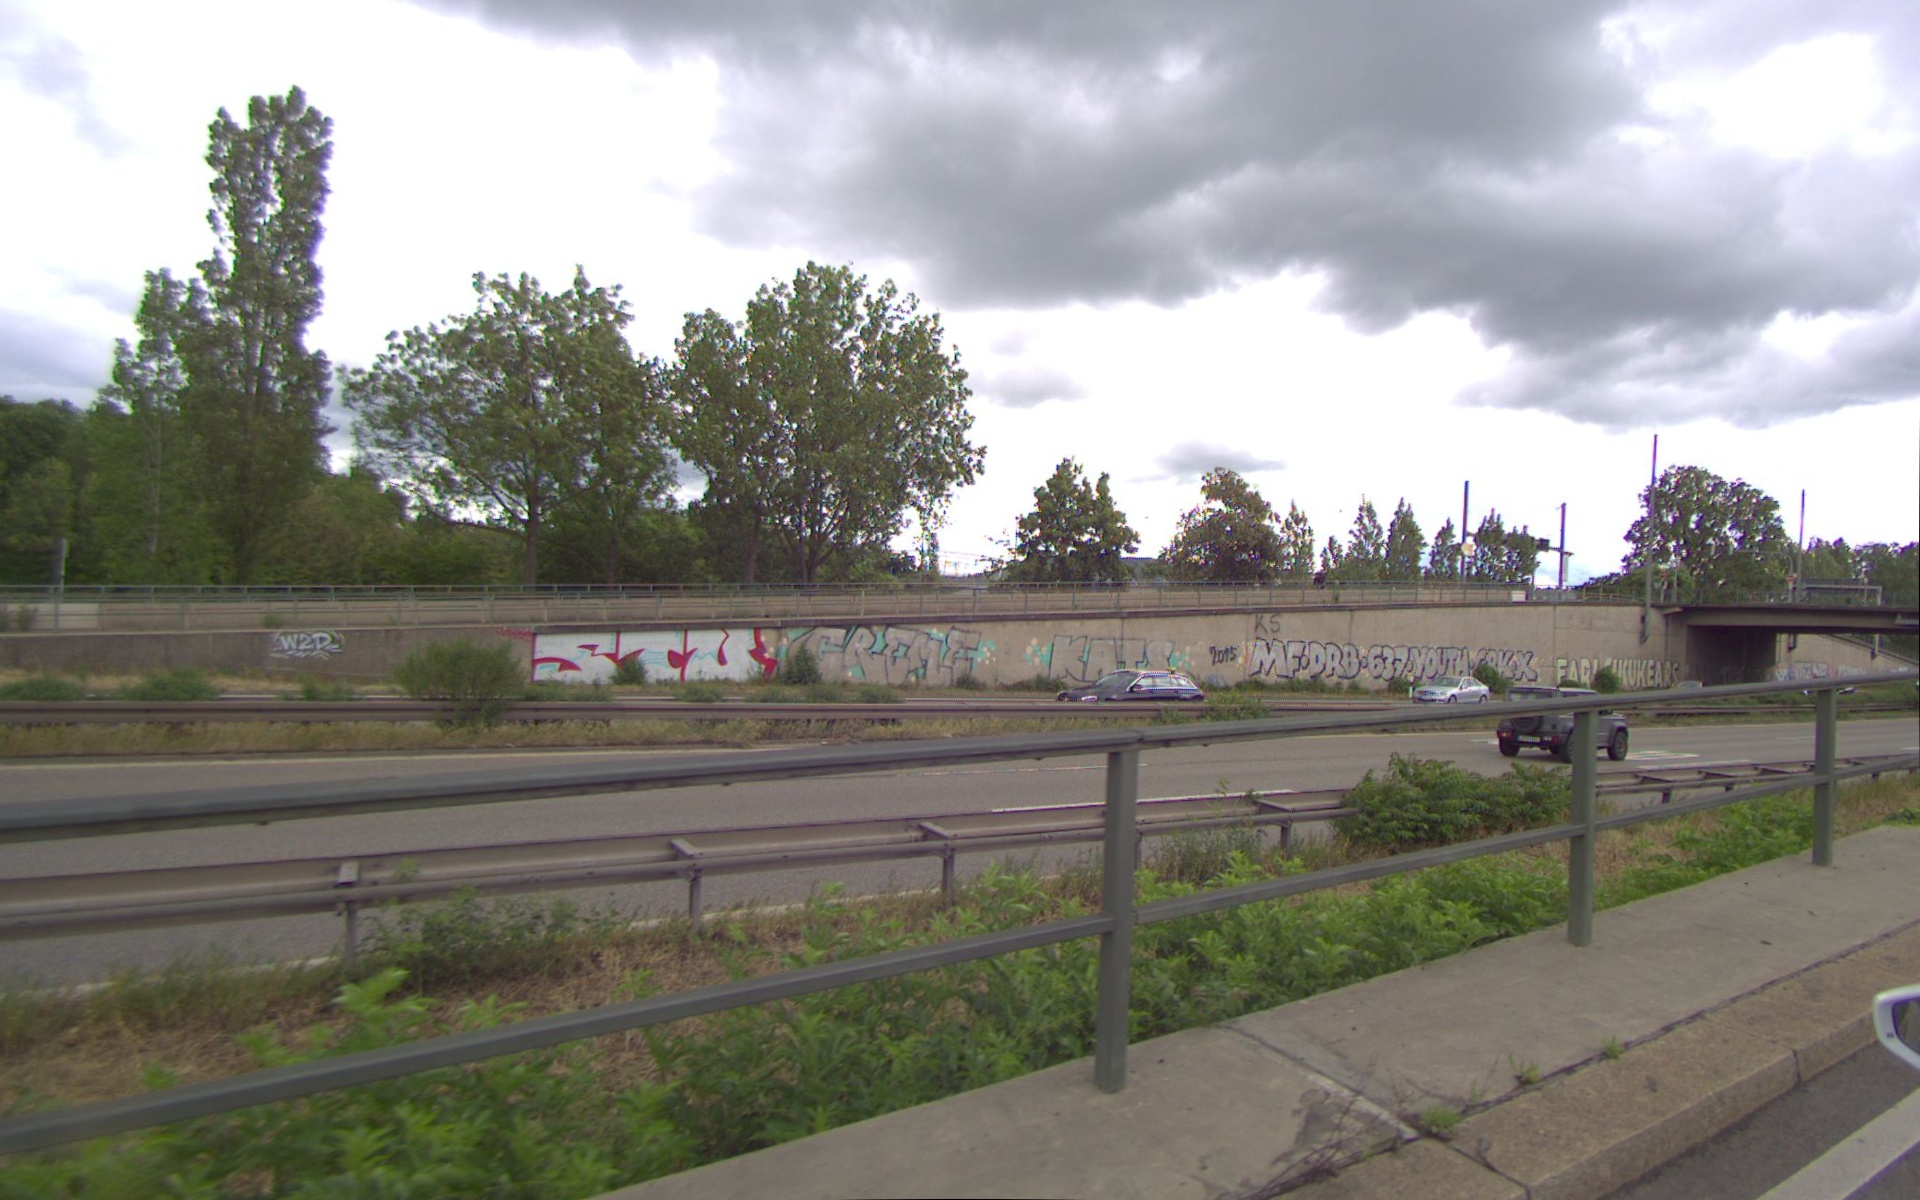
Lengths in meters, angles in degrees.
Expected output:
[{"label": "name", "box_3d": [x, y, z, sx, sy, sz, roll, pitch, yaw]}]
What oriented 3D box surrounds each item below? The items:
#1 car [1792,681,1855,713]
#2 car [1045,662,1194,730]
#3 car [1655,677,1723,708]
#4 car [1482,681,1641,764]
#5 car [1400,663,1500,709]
[{"label": "car", "box_3d": [60.086, 6.745, 69.897, 5.063, 2.014, 2.079, 4, -2, -34]}, {"label": "car", "box_3d": [4.699, 2.752, 29.436, 3.954, 1.751, 1.984, 2, -1, -31]}, {"label": "car", "box_3d": [46.141, 5.883, 63.549, 4.654, 1.742, 1.982, 5, -3, -33]}, {"label": "car", "box_3d": [14.546, 2.897, 24.252, 3.955, 1.758, 1.672, 3, -2, -32]}, {"label": "car", "box_3d": [22.599, 3.960, 46.276, 4.654, 1.714, 1.983, 7, -4, -32]}]
